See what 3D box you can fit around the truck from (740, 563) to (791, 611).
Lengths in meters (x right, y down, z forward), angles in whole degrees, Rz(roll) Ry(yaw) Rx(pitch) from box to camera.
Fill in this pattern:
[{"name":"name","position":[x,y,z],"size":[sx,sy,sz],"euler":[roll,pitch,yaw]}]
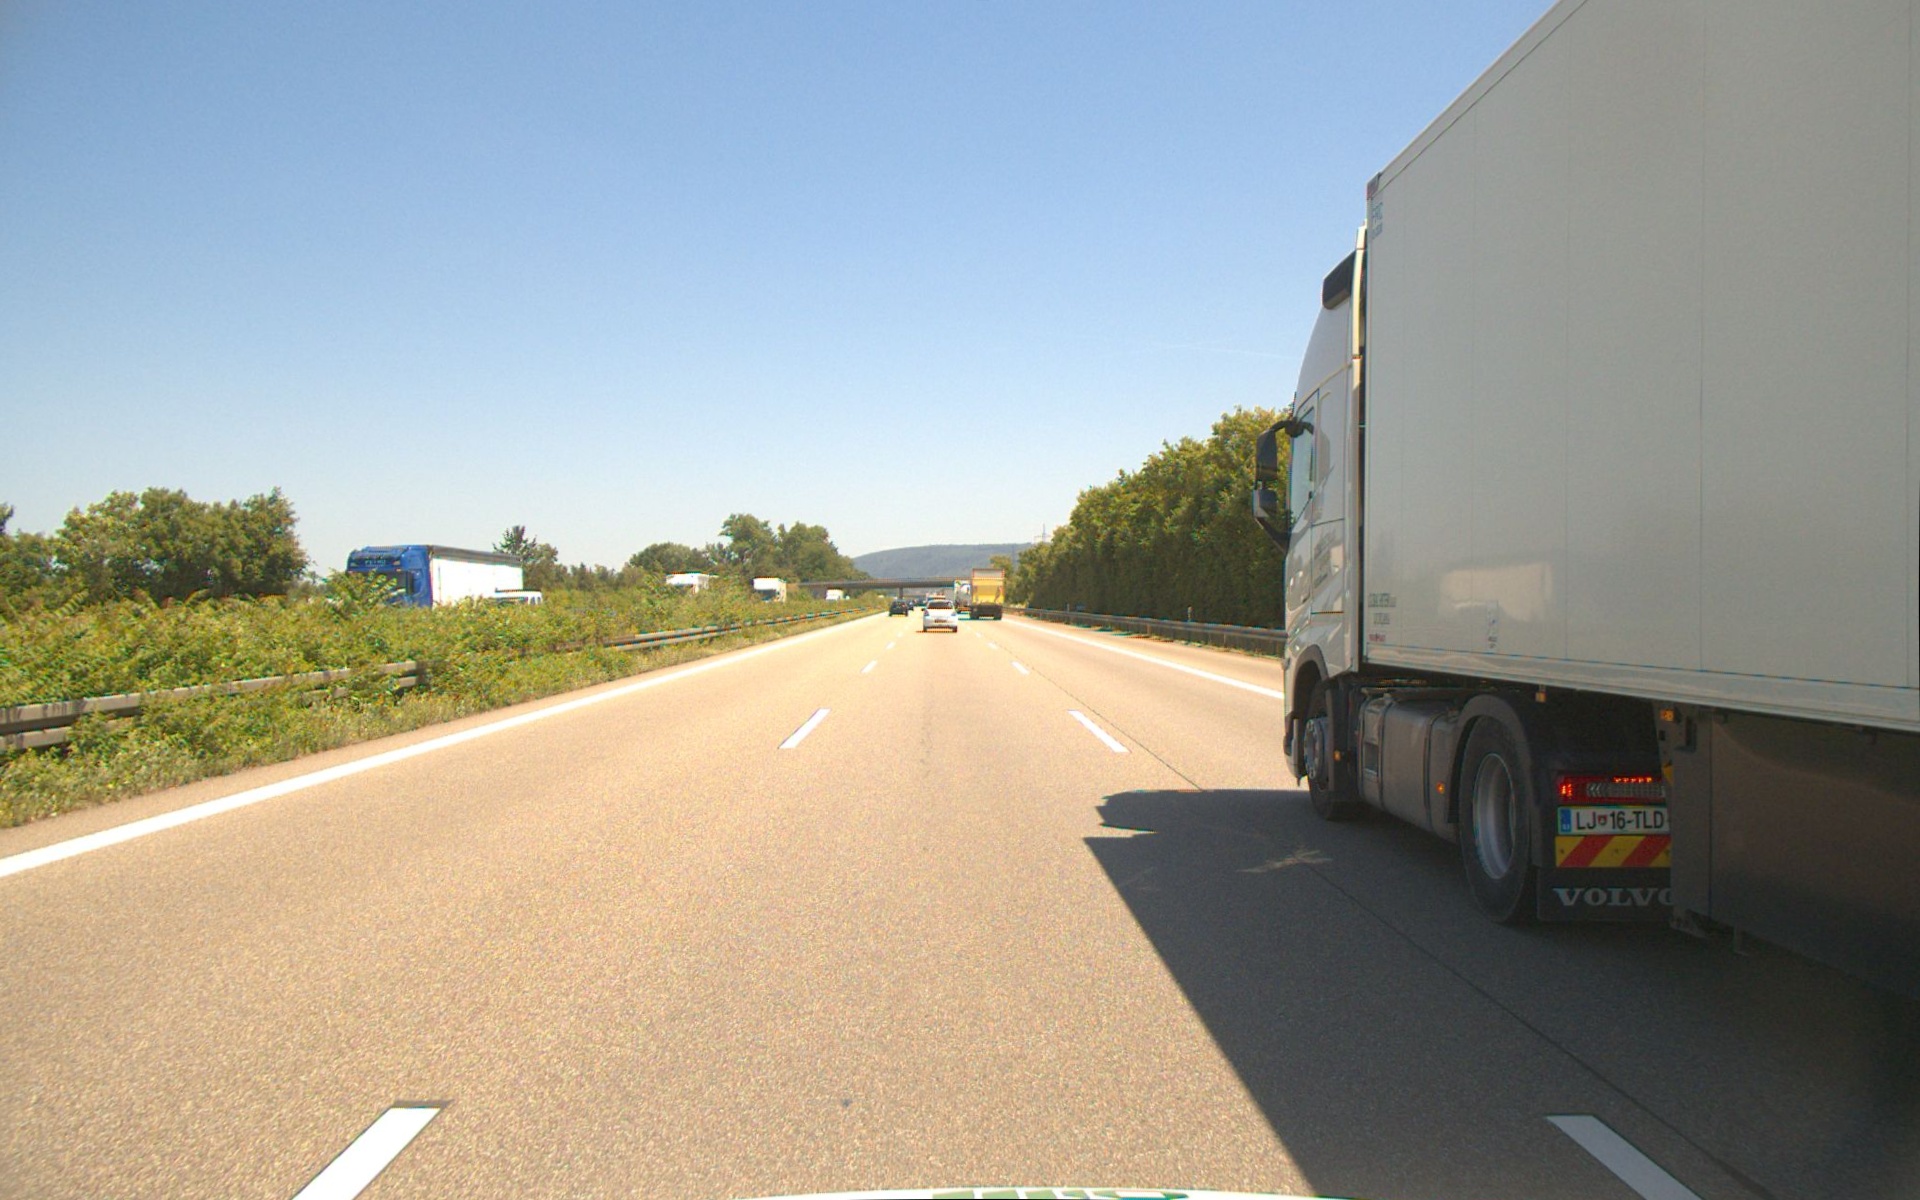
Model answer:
[{"name":"truck","position":[-20.225,-1.327,172.877],"size":[3.792,4.746,13.859],"euler":[1,0,0]}]

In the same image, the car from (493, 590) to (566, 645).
[{"name":"car","position":[-16.576,0.656,63.870],"size":[1.802,2.049,4.000],"euler":[0,0,0]}]

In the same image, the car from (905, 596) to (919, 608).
[{"name":"car","position":[-6.721,0.296,231.514],"size":[1.758,1.578,4.000],"euler":[0,0,0]}]

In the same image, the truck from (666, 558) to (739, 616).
[{"name":"truck","position":[-20.924,-1.056,135.531],"size":[3.792,4.421,13.859],"euler":[1,0,0]}]

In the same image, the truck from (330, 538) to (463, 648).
[{"name":"truck","position":[-20.987,-0.261,61.950],"size":[3.070,3.899,5.832],"euler":[-1,0,-1]}]

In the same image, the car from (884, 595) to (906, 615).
[{"name":"car","position":[-6.027,0.477,153.999],"size":[1.953,1.742,3.999],"euler":[1,0,-1]}]

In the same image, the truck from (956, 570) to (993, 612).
[{"name":"truck","position":[1.632,-1.061,195.779],"size":[4.184,4.733,13.858],"euler":[0,0,0]}]

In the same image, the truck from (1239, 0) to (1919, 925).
[{"name":"truck","position":[3.976,-0.850,10.348],"size":[3.153,4.421,6.589],"euler":[1,0,-1]}]

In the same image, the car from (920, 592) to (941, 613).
[{"name":"car","position":[-2.527,0.229,141.691],"size":[1.750,1.742,3.999],"euler":[1,0,-1]}]

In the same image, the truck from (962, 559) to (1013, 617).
[{"name":"truck","position":[2.145,-0.990,135.766],"size":[3.792,4.421,13.859],"euler":[1,0,0]}]

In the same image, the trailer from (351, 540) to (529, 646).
[{"name":"trailer","position":[-21.111,-0.283,68.365],"size":[3.070,3.899,14.295],"euler":[-1,0,-1]}]

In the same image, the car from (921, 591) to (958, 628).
[{"name":"car","position":[-1.016,0.426,79.722],"size":[1.697,1.713,3.999],"euler":[-1,1,-1]}]

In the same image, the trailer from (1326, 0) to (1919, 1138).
[{"name":"trailer","position":[4.119,-0.780,3.887],"size":[3.153,4.421,13.626],"euler":[1,0,-1]}]
